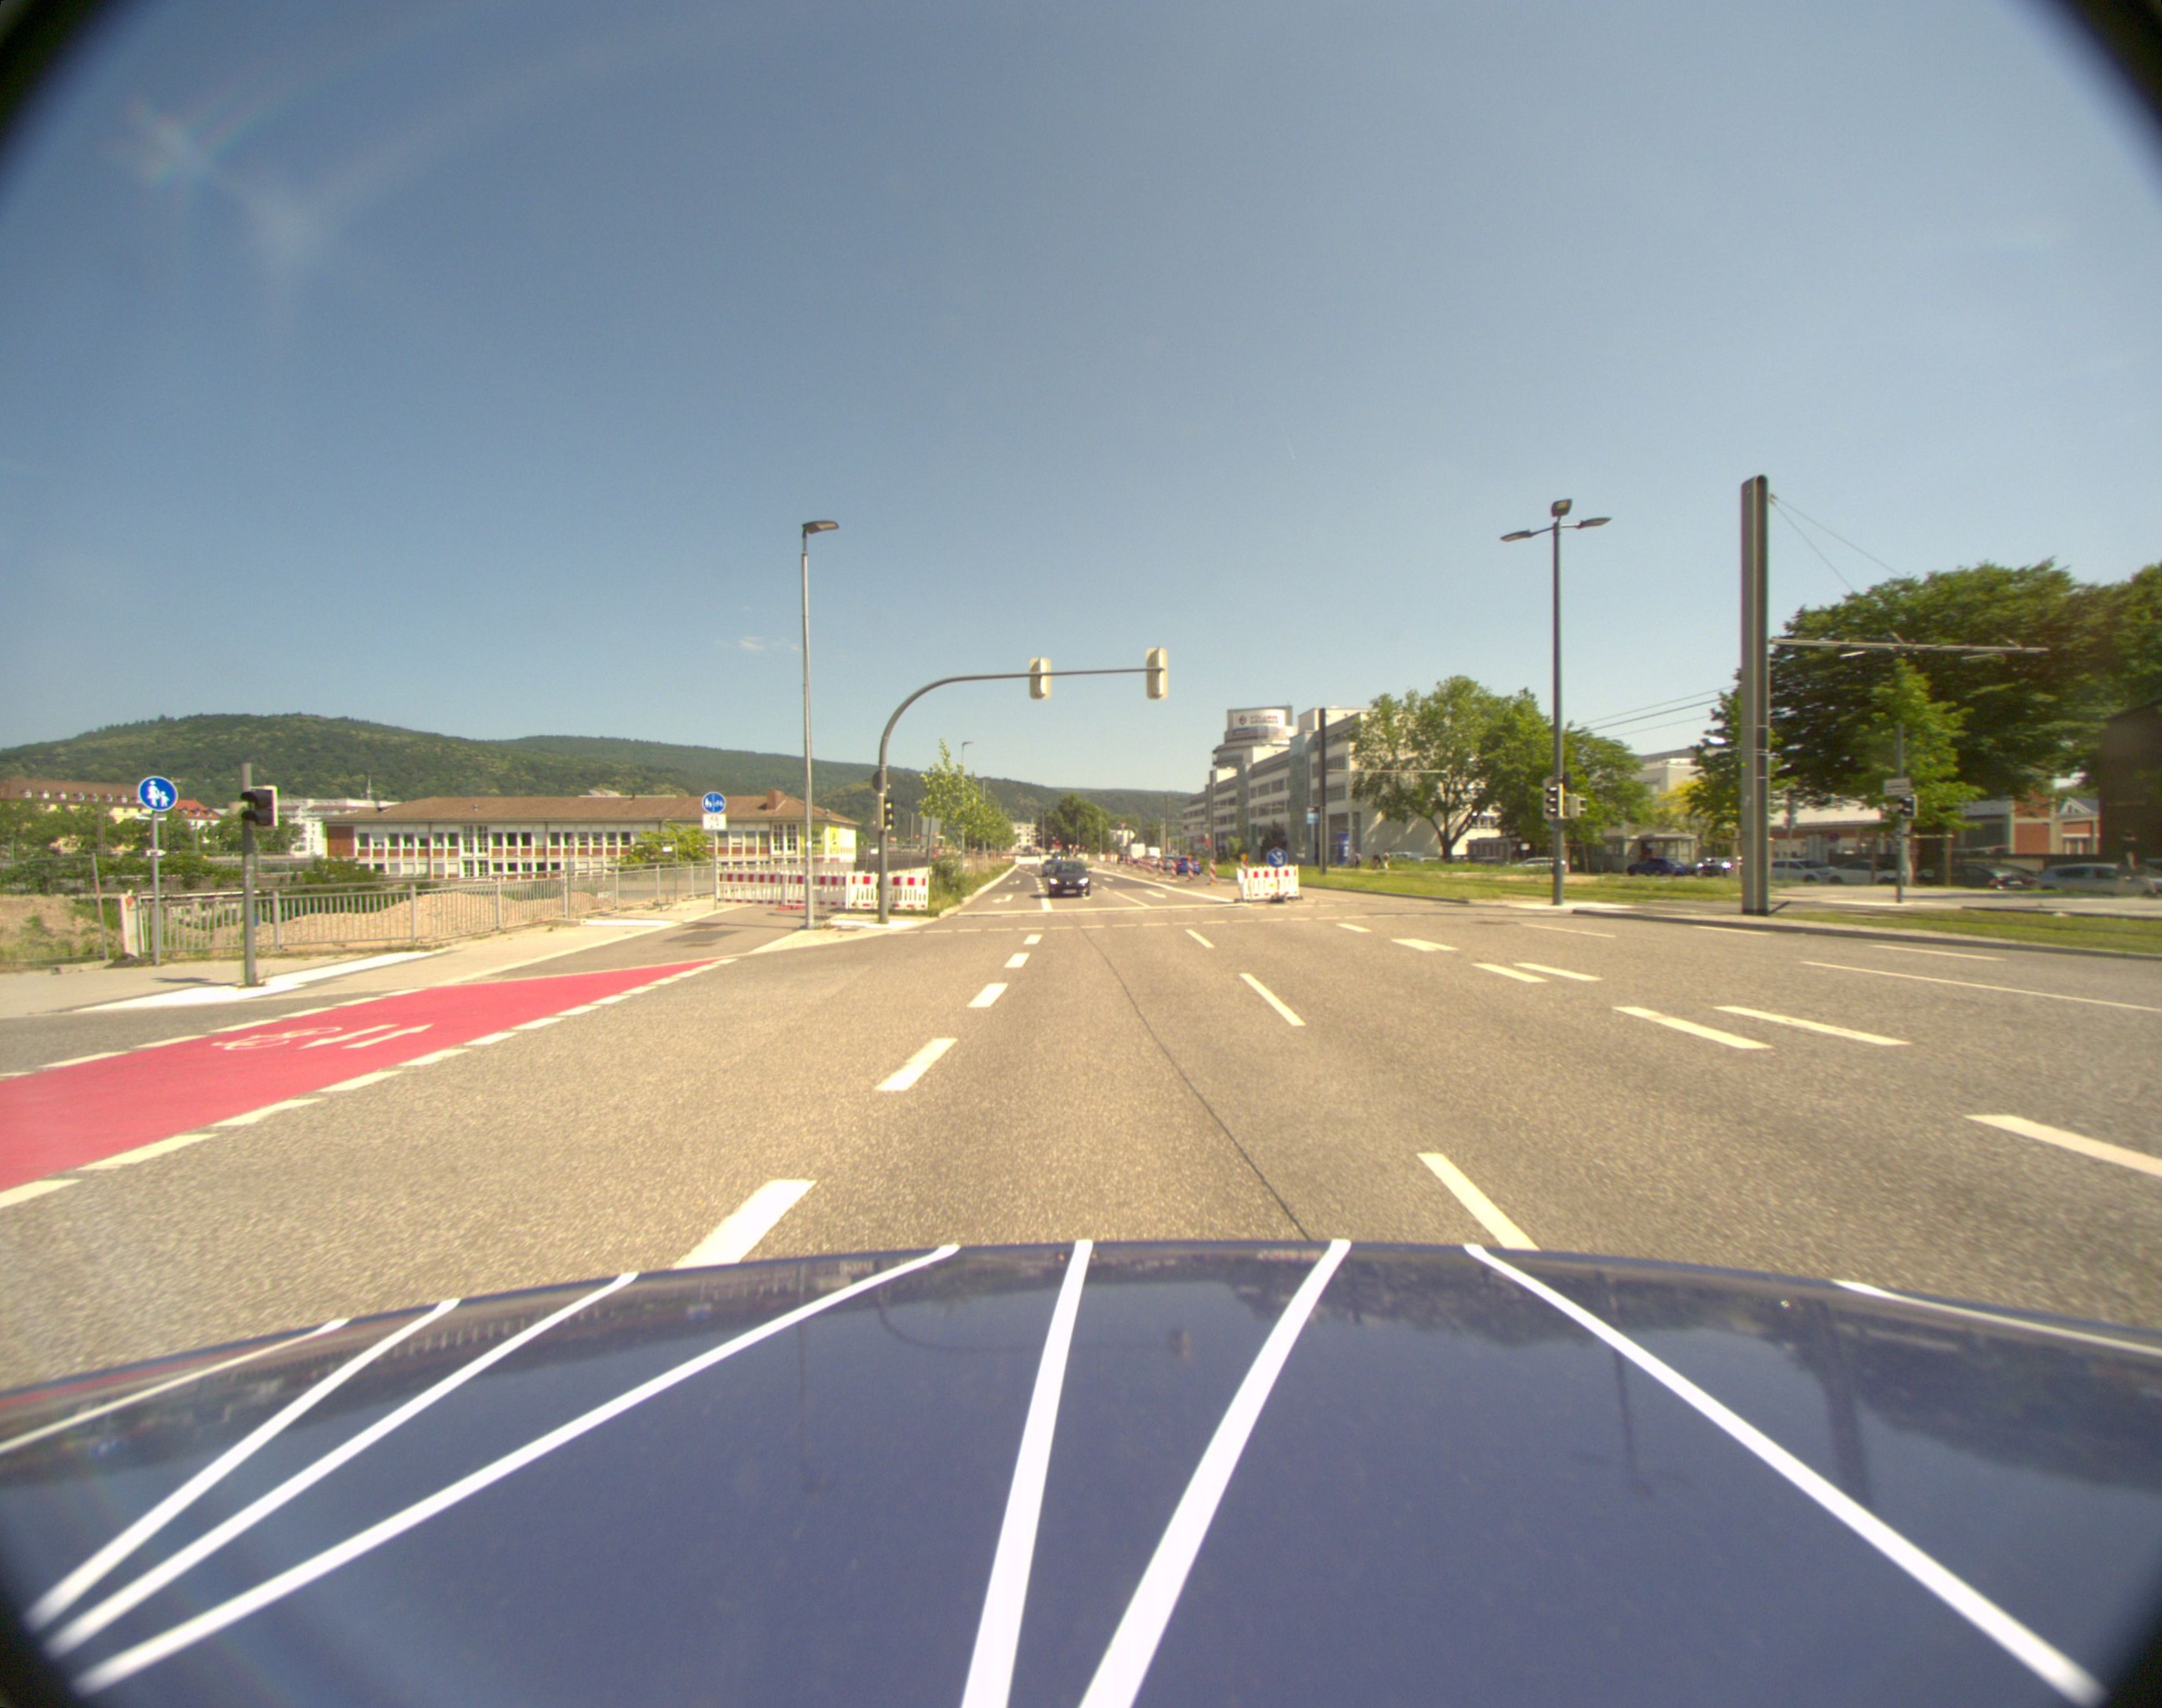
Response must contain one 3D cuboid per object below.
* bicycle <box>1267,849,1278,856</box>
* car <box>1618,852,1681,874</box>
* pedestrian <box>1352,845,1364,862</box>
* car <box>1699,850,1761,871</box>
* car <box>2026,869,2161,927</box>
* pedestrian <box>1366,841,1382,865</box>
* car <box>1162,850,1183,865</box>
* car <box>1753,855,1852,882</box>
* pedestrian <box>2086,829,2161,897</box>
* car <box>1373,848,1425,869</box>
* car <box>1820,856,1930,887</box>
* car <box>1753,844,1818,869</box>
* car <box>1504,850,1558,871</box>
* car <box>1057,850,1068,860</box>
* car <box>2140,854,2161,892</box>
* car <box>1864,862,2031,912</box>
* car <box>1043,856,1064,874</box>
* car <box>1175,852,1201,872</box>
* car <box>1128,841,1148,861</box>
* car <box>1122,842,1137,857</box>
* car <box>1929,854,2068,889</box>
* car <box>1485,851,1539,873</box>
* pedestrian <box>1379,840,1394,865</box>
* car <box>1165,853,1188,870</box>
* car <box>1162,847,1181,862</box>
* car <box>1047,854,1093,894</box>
[{"bbox_3d":[31.383,-0.217,124.634,1.650,1.182,0.438,-2,1,2],"label":"bicycle"},{"bbox_3d":[43.531,0.676,58.269,1.773,1.581,3.634,-3,1,-8],"label":"car"},{"bbox_3d":[25.627,-0.029,70.221,0.816,1.567,0.826,-2,1,2],"label":"pedestrian"},{"bbox_3d":[47.808,0.454,56.085,1.541,1.444,3.344,-3,1,-5],"label":"car"},{"bbox_3d":[36.476,1.498,26.620,1.703,1.751,3.937,-1,1,-3],"label":"car"},{"bbox_3d":[24.809,-0.111,64.296,0.985,2.002,0.910,-2,1,-1],"label":"pedestrian"},{"bbox_3d":[8.817,0.324,73.525,1.584,1.408,4.296,0,1,1],"label":"car"},{"bbox_3d":[41.878,0.792,44.250,1.542,1.449,4.266,-1,0,-3],"label":"car"},{"bbox_3d":[28.922,0.242,20.999,0.813,1.836,1.107,-1,1,3],"label":"pedestrian"},{"bbox_3d":[34.102,0.449,81.396,5.064,2.167,2.117,-1,1,24],"label":"car"},{"bbox_3d":[41.079,0.885,39.434,1.543,1.449,3.784,-1,1,-7],"label":"car"},{"bbox_3d":[45.802,0.153,49.411,3.755,1.449,1.541,-1,1,-20],"label":"car"},{"bbox_3d":[35.798,0.489,60.485,1.773,1.581,3.634,-3,1,-8],"label":"car"},{"bbox_3d":[-3.105,0.108,125.571,1.619,1.433,3.766,-2,1,-2],"label":"car"},{"bbox_3d":[42.088,0.728,27.717,1.542,1.449,3.786,-1,0,-3],"label":"car"},{"bbox_3d":[36.240,1.307,31.986,1.703,1.751,4.528,-1,1,-3],"label":"car"},{"bbox_3d":[-2.254,0.875,61.631,1.619,1.433,3.766,-1,0,-4],"label":"car"},{"bbox_3d":[8.058,0.570,57.687,1.632,1.419,4.291,0,0,4],"label":"car"},{"bbox_3d":[7.907,-0.474,106.086,2.083,2.724,5.984,1,1,-2],"label":"car"},{"bbox_3d":[8.893,-0.823,138.847,2.036,2.564,6.192,2,1,-2],"label":"car"},{"bbox_3d":[41.318,0.729,34.342,1.543,1.449,3.785,-1,0,-6],"label":"car"},{"bbox_3d":[33.527,0.562,59.155,1.773,1.581,3.634,-3,1,-8],"label":"car"},{"bbox_3d":[25.877,-0.132,64.328,0.841,2.002,0.983,-2,1,0],"label":"pedestrian"},{"bbox_3d":[8.332,0.657,66.340,1.584,1.408,3.999,0,1,2],"label":"car"},{"bbox_3d":[9.543,0.036,80.464,1.584,1.521,3.620,1,1,0],"label":"car"},{"bbox_3d":[-0.510,0.749,30.630,1.619,1.433,3.704,-1,1,-4],"label":"car"}]
